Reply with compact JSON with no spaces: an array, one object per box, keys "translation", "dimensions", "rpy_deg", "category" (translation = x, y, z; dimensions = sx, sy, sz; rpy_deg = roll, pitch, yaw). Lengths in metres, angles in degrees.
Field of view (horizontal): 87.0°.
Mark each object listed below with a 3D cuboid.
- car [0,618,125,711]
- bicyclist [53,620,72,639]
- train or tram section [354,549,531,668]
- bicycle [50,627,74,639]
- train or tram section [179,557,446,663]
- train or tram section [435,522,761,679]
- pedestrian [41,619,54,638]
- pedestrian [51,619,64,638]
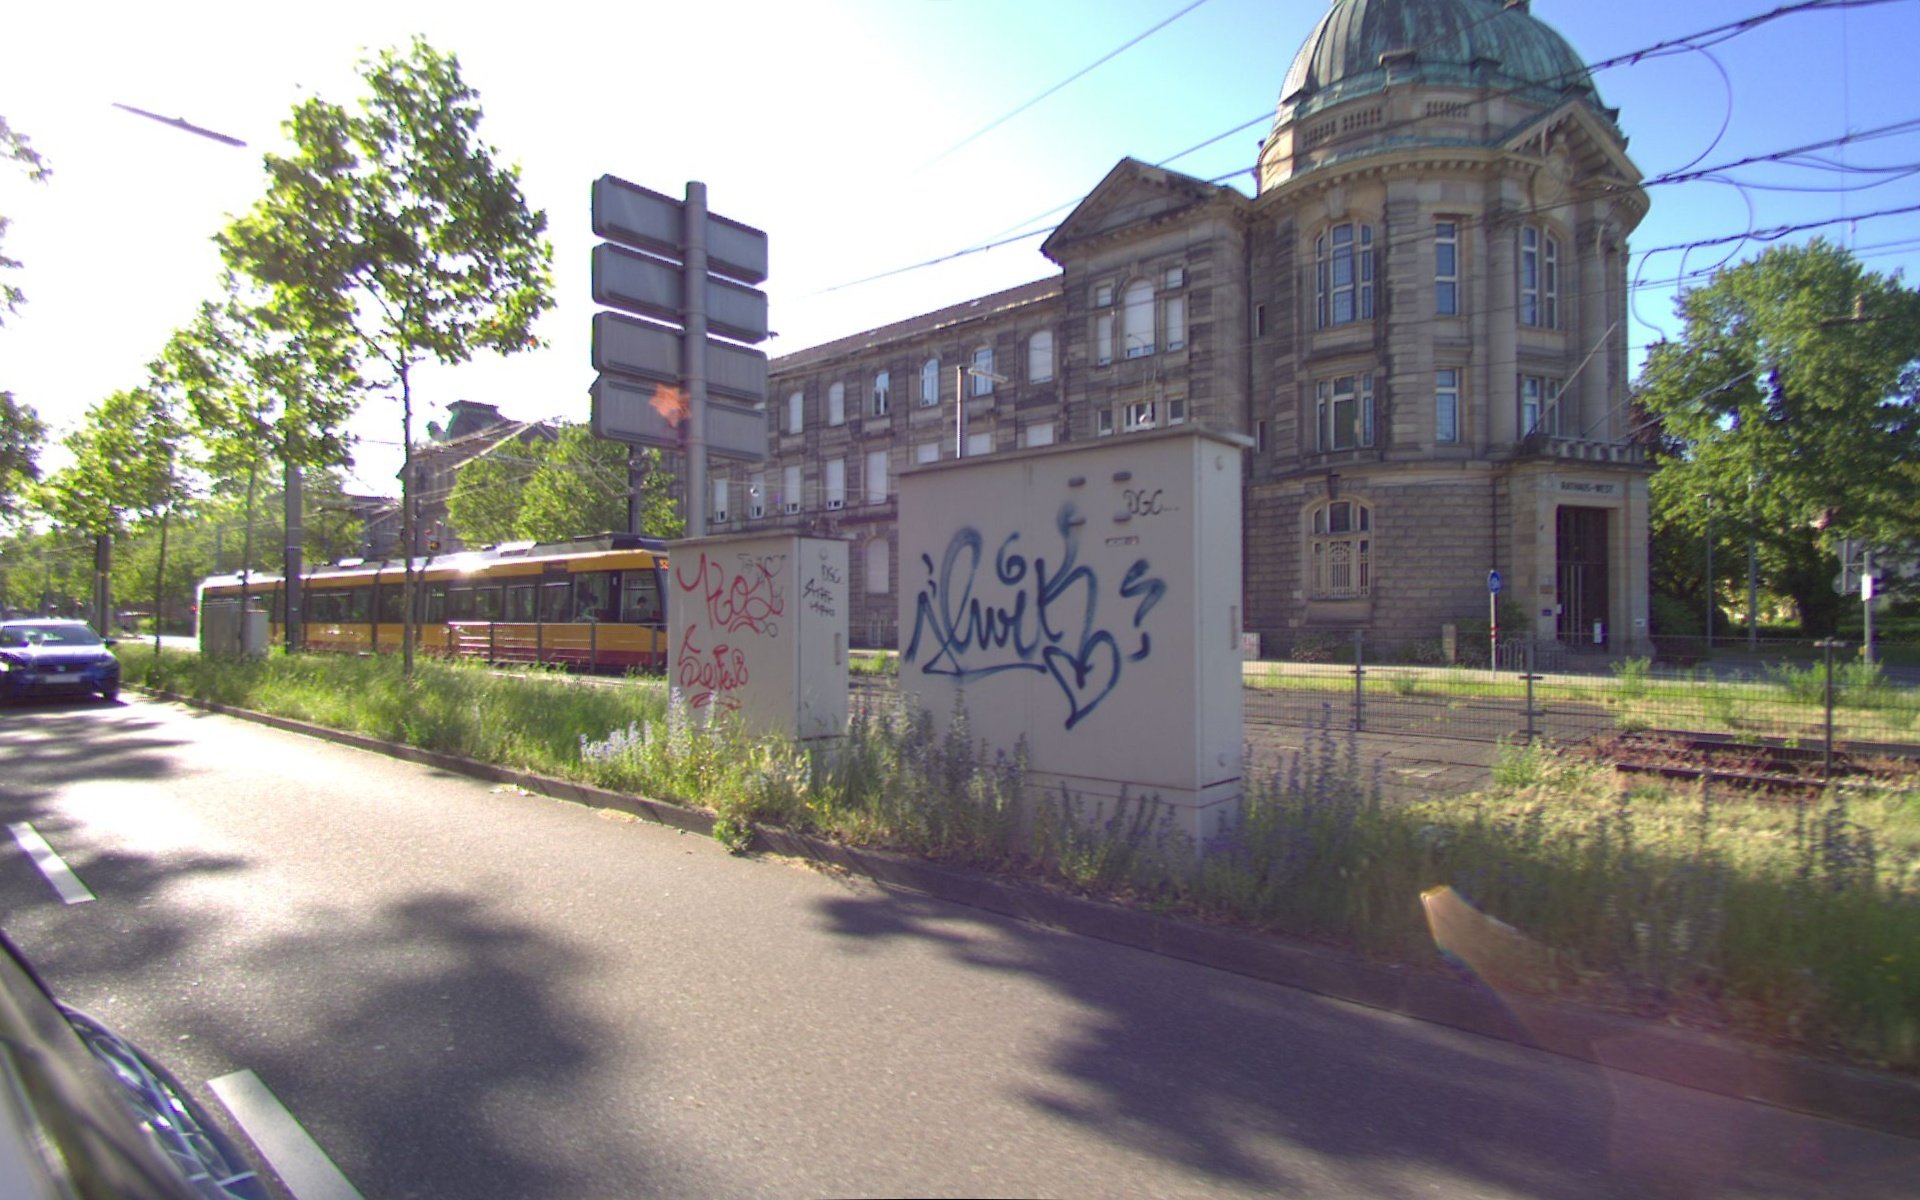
[{"translation":[-16.490,1.096,18.155],"dimensions":[3.867,1.459,1.755],"rpy_deg":[-2,0,42],"category":"car"},{"translation":[-81.220,2.693,91.546],"dimensions":[0.826,1.656,0.966],"rpy_deg":[-1,0,9],"category":"bicyclist"},{"translation":[-16.843,0.301,32.818],"dimensions":[6.054,3.510,2.927],"rpy_deg":[-2,-1,39],"category":"train or tram section"},{"translation":[-81.216,2.993,91.526],"dimensions":[0.538,1.049,1.658],"rpy_deg":[0,-1,10],"category":"bicycle"},{"translation":[-27.312,0.562,41.536],"dimensions":[21.197,3.510,2.934],"rpy_deg":[-2,-1,40],"category":"train or tram section"},{"translation":[-10.181,0.122,27.337],"dimensions":[11.275,3.510,2.932],"rpy_deg":[-2,-1,39],"category":"train or tram section"},{"translation":[-85.374,2.693,94.663],"dimensions":[0.692,1.758,0.592],"rpy_deg":[-1,0,9],"category":"pedestrian"},{"translation":[-82.659,2.599,92.675],"dimensions":[0.692,1.689,0.592],"rpy_deg":[-1,0,9],"category":"pedestrian"}]
